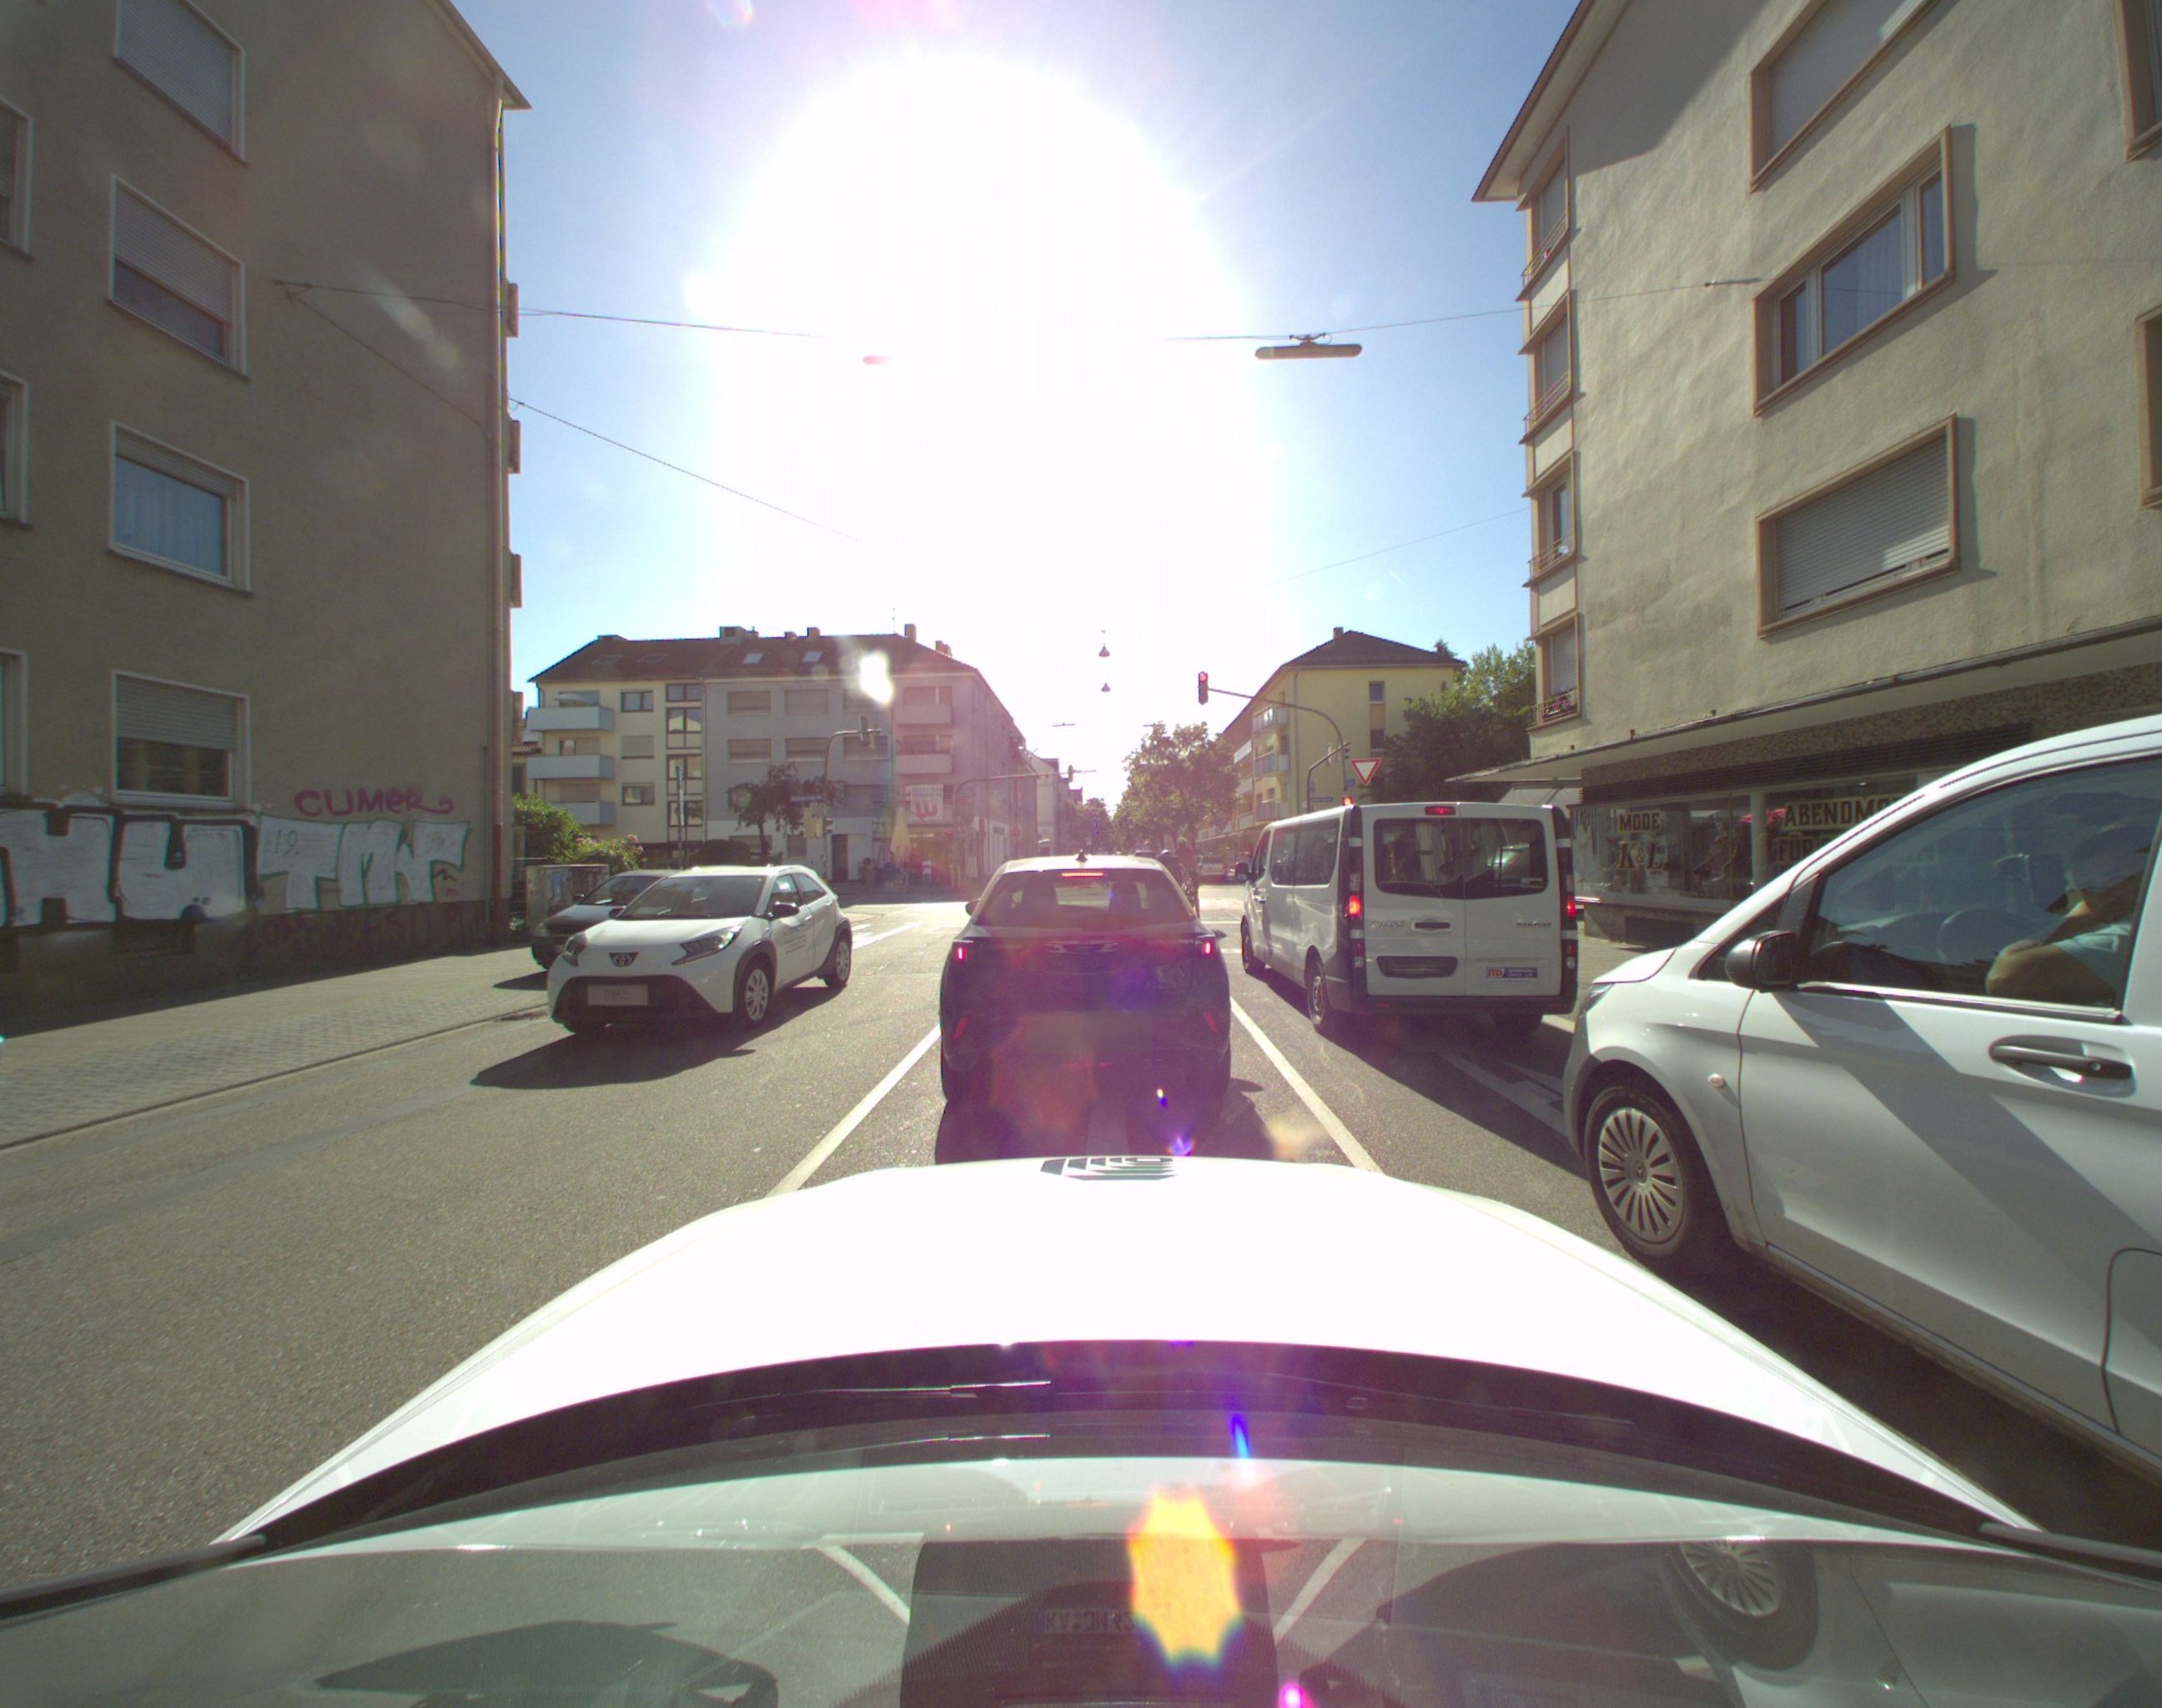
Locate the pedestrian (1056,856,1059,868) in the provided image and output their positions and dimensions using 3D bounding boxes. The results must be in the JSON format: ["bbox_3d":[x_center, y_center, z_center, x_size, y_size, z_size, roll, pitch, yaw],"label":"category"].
[{"bbox_3d":[-3.167,1.045,110.356,0.400,1.675,0.418,-1,0,1],"label":"pedestrian"}]

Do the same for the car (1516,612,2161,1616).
[{"bbox_3d":[2.921,0.474,1.228,1.830,1.869,4.995,-1,0,0],"label":"car"}]

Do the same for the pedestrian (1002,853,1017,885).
[{"bbox_3d":[-3.846,0.806,44.022,0.704,1.678,0.802,-1,0,0],"label":"pedestrian"}]

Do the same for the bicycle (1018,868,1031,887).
[{"bbox_3d":[-3.029,1.259,44.143,0.520,0.992,2.339,-1,0,0],"label":"bicycle"}]

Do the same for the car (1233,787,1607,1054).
[{"bbox_3d":[2.981,0.494,8.522,1.986,1.979,4.896,0,0,1],"label":"car"}]

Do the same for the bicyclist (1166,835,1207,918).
[{"bbox_3d":[2.264,0.476,17.669,0.687,1.712,1.414,-1,0,0],"label":"bicyclist"}]

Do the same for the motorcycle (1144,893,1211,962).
[{"bbox_3d":[1.409,1.066,12.207,0.822,0.845,1.885,-1,0,1],"label":"motorcycle"}]

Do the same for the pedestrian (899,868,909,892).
[{"bbox_3d":[-8.199,1.179,37.715,0.354,1.092,0.461,-1,0,-1],"label":"pedestrian"}]

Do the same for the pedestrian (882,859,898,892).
[{"bbox_3d":[-8.865,0.995,37.849,0.582,1.521,0.649,-1,0,-1],"label":"pedestrian"}]

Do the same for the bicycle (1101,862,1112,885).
[{"bbox_3d":[1.377,1.032,44.000,0.520,1.147,2.170,-1,0,0],"label":"bicycle"}]

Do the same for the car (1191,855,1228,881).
[{"bbox_3d":[7.409,0.780,47.246,1.628,1.433,3.958,-1,0,2],"label":"car"}]

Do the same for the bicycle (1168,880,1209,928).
[{"bbox_3d":[2.314,1.052,17.742,0.575,0.904,2.301,-1,0,0],"label":"bicycle"}]

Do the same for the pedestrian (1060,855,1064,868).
[{"bbox_3d":[-2.544,1.035,109.910,0.400,1.675,0.418,-1,0,1],"label":"pedestrian"}]

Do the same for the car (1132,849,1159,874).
[{"bbox_3d":[4.771,0.555,60.340,1.894,1.728,4.077,-1,0,3],"label":"car"}]

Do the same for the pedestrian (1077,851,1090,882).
[{"bbox_3d":[0.129,0.676,43.895,0.678,1.606,0.762,-1,0,0],"label":"pedestrian"}]

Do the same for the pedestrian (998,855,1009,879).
[{"bbox_3d":[-4.947,0.820,52.031,0.615,1.521,0.724,-1,0,-1],"label":"pedestrian"}]

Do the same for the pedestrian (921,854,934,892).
[{"bbox_3d":[-7.248,0.894,38.425,0.560,1.775,0.582,-1,0,-7],"label":"pedestrian"}]

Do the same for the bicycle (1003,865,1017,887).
[{"bbox_3d":[-3.844,1.183,44.147,0.520,1.147,2.283,-1,0,0],"label":"bicycle"}]

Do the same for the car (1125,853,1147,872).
[{"bbox_3d":[5.132,0.796,76.071,1.894,1.728,4.003,-1,0,2],"label":"car"}]

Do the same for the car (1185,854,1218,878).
[{"bbox_3d":[7.653,0.764,51.961,1.628,1.433,4.002,-1,0,2],"label":"car"}]

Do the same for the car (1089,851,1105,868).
[{"bbox_3d":[2.018,0.684,102.888,1.848,2.013,3.882,-1,0,2],"label":"car"}]

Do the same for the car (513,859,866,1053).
[{"bbox_3d":[-3.778,0.866,8.694,1.758,1.536,3.788,-2,0,2],"label":"car"}]

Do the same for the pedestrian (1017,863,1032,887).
[{"bbox_3d":[-3.023,1.129,43.702,0.704,1.253,0.802,-1,0,0],"label":"pedestrian"}]

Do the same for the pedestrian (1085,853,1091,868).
[{"bbox_3d":[0.809,0.752,93.393,0.566,1.690,0.590,-1,0,12],"label":"pedestrian"}]

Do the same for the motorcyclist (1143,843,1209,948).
[{"bbox_3d":[1.416,0.603,12.384,0.861,1.502,1.160,-1,0,1],"label":"motorcyclist"}]

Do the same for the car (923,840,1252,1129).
[{"bbox_3d":[0.040,0.713,6.450,1.765,1.530,3.999,-1,0,0],"label":"car"}]

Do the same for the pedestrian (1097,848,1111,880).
[{"bbox_3d":[1.231,0.519,43.754,0.704,1.701,0.802,-1,0,0],"label":"pedestrian"}]

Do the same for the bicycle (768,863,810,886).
[{"bbox_3d":[-15.512,1.076,43.267,2.103,1.172,0.735,-1,0,-22],"label":"bicycle"}]

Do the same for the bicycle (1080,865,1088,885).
[{"bbox_3d":[0.168,1.122,43.956,0.442,0.992,2.068,-1,0,0],"label":"bicycle"}]

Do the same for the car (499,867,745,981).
[{"bbox_3d":[-6.882,0.956,12.701,1.610,1.425,3.711,1,0,1],"label":"car"}]

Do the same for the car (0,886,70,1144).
[{"bbox_3d":[-7.111,0.925,2.576,1.711,1.465,4.817,1,0,1],"label":"car"}]
